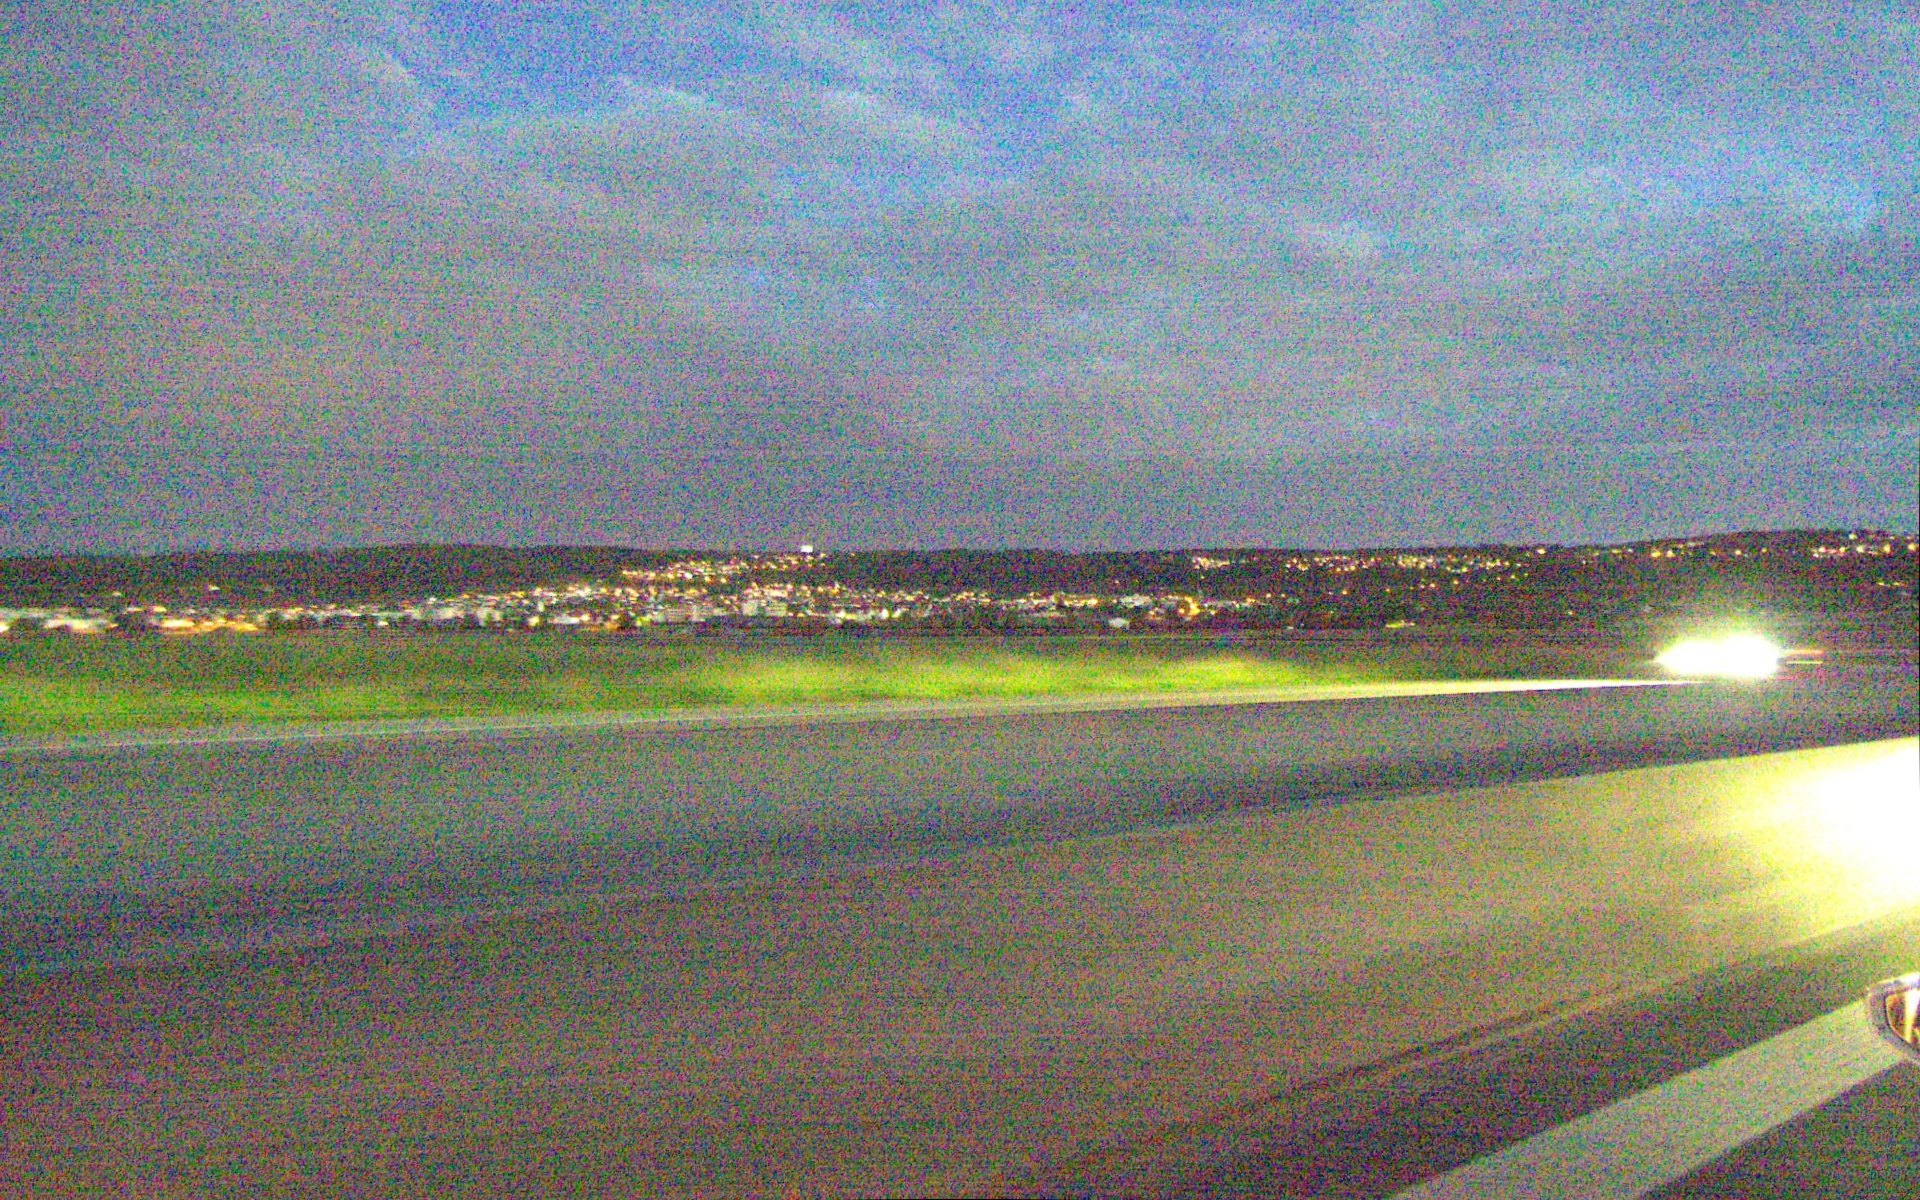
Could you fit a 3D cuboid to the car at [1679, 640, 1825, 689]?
[{"bbox_3d":[25.153,2.020,31.872,4.925,1.437,1.984,1,-3,-31],"label":"car"}]
